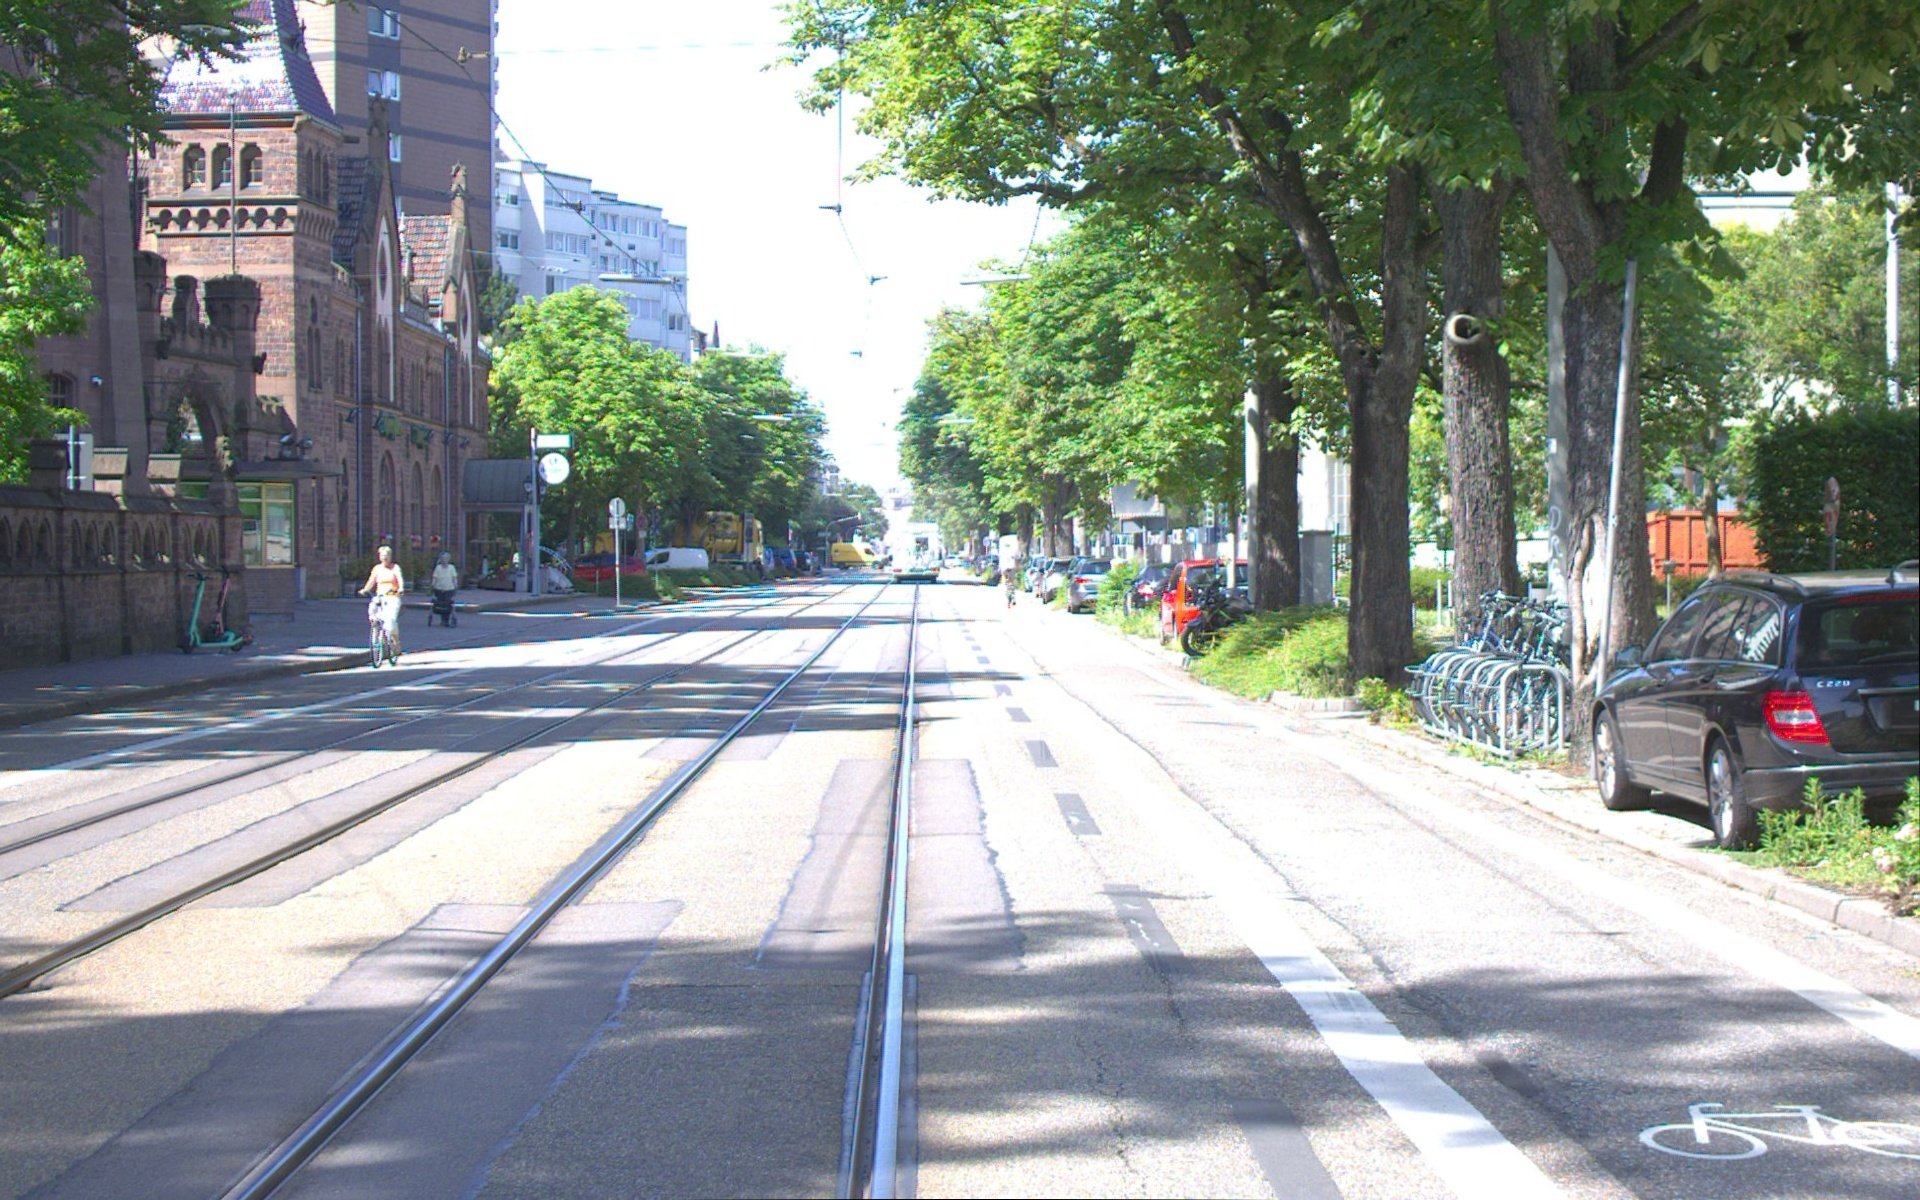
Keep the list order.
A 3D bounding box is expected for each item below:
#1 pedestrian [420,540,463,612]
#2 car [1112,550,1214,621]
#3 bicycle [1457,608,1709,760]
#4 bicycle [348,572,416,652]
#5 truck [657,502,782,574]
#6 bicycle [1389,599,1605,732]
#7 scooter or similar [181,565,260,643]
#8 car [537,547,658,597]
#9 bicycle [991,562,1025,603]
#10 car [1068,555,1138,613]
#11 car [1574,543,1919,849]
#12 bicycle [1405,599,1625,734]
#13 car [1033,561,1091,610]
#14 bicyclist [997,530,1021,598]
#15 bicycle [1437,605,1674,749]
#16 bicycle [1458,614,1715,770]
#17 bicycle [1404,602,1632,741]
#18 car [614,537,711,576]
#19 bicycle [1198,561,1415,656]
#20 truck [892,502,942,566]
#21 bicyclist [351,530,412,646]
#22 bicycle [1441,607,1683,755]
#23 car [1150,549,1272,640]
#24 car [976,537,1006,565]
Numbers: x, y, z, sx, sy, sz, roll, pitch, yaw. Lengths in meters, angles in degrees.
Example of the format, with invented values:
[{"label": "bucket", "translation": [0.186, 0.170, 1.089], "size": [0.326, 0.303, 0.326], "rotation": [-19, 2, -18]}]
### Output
[{"label": "pedestrian", "translation": [-11.107, -0.517, 73.615], "size": [0.883, 1.507, 1.476], "rotation": [0, 1, -9]}, {"label": "car", "translation": [3.987, -0.301, 67.960], "size": [1.629, 1.350, 3.902], "rotation": [0, 1, -2]}, {"label": "bicycle", "translation": [4.594, 0.610, 25.407], "size": [1.724, 1.082, 0.697], "rotation": [0, 1, -1]}, {"label": "bicycle", "translation": [-8.524, 0.168, 50.756], "size": [0.662, 1.150, 2.014], "rotation": [0, 1, 0]}, {"label": "truck", "translation": [-13.028, -3.346, 187.369], "size": [2.816, 3.846, 9.989], "rotation": [0, 1, 21]}, {"label": "bicycle", "translation": [4.482, 0.541, 28.738], "size": [1.724, 1.082, 0.478], "rotation": [0, 1, -1]}, {"label": "scooter or similar", "translation": [-10.819, 0.047, 50.307], "size": [0.333, 1.125, 1.184], "rotation": [0, 1, 39]}, {"label": "car", "translation": [-13.227, -1.026, 125.442], "size": [3.988, 1.804, 1.889], "rotation": [-1, 1, -37]}, {"label": "bicycle", "translation": [1.341, -0.491, 96.272], "size": [0.855, 1.106, 2.139], "rotation": [0, 1, -1]}, {"label": "car", "translation": [3.699, -0.443, 89.645], "size": [1.630, 1.467, 4.114], "rotation": [0, 1, 0]}, {"label": "car", "translation": [4.696, 0.441, 19.191], "size": [1.630, 1.478, 4.274], "rotation": [0, 1, -2]}, {"label": "bicycle", "translation": [4.554, 0.542, 28.254], "size": [1.724, 1.082, 0.478], "rotation": [0, 1, -1]}, {"label": "car", "translation": [3.173, -0.472, 107.537], "size": [1.630, 1.467, 4.114], "rotation": [0, 1, 0]}, {"label": "bicyclist", "translation": [1.373, -1.011, 96.184], "size": [0.636, 1.865, 1.024], "rotation": [0, 1, -1]}, {"label": "bicycle", "translation": [4.610, 0.588, 26.650], "size": [1.724, 1.082, 0.589], "rotation": [0, 1, -1]}, {"label": "bicycle", "translation": [4.497, 0.654, 24.749], "size": [1.724, 1.082, 0.629], "rotation": [0, 1, -1]}, {"label": "bicycle", "translation": [4.488, 0.571, 27.711], "size": [1.724, 1.082, 0.615], "rotation": [0, 1, -1]}, {"label": "car", "translation": [-13.711, -2.003, 158.509], "size": [3.987, 1.744, 2.000], "rotation": [-1, 1, -31]}, {"label": "bicycle", "translation": [4.923, 0.117, 49.023], "size": [3.028, 1.327, 1.041], "rotation": [0, 1, 3]}, {"label": "truck", "translation": [-2.143, -3.262, 170.055], "size": [2.402, 3.098, 6.037], "rotation": [0, 1, -1]}, {"label": "bicyclist", "translation": [-8.516, -0.181, 50.619], "size": [0.725, 1.692, 1.147], "rotation": [0, 1, -1]}, {"label": "bicycle", "translation": [4.552, 0.607, 26.057], "size": [1.724, 1.082, 0.570], "rotation": [0, 1, -1]}, {"label": "car", "translation": [4.204, -0.112, 58.105], "size": [1.629, 1.467, 3.720], "rotation": [0, 1, -2]}, {"label": "car", "translation": [1.752, -2.793, 194.791], "size": [1.630, 1.563, 4.114], "rotation": [0, 1, 0]}]
